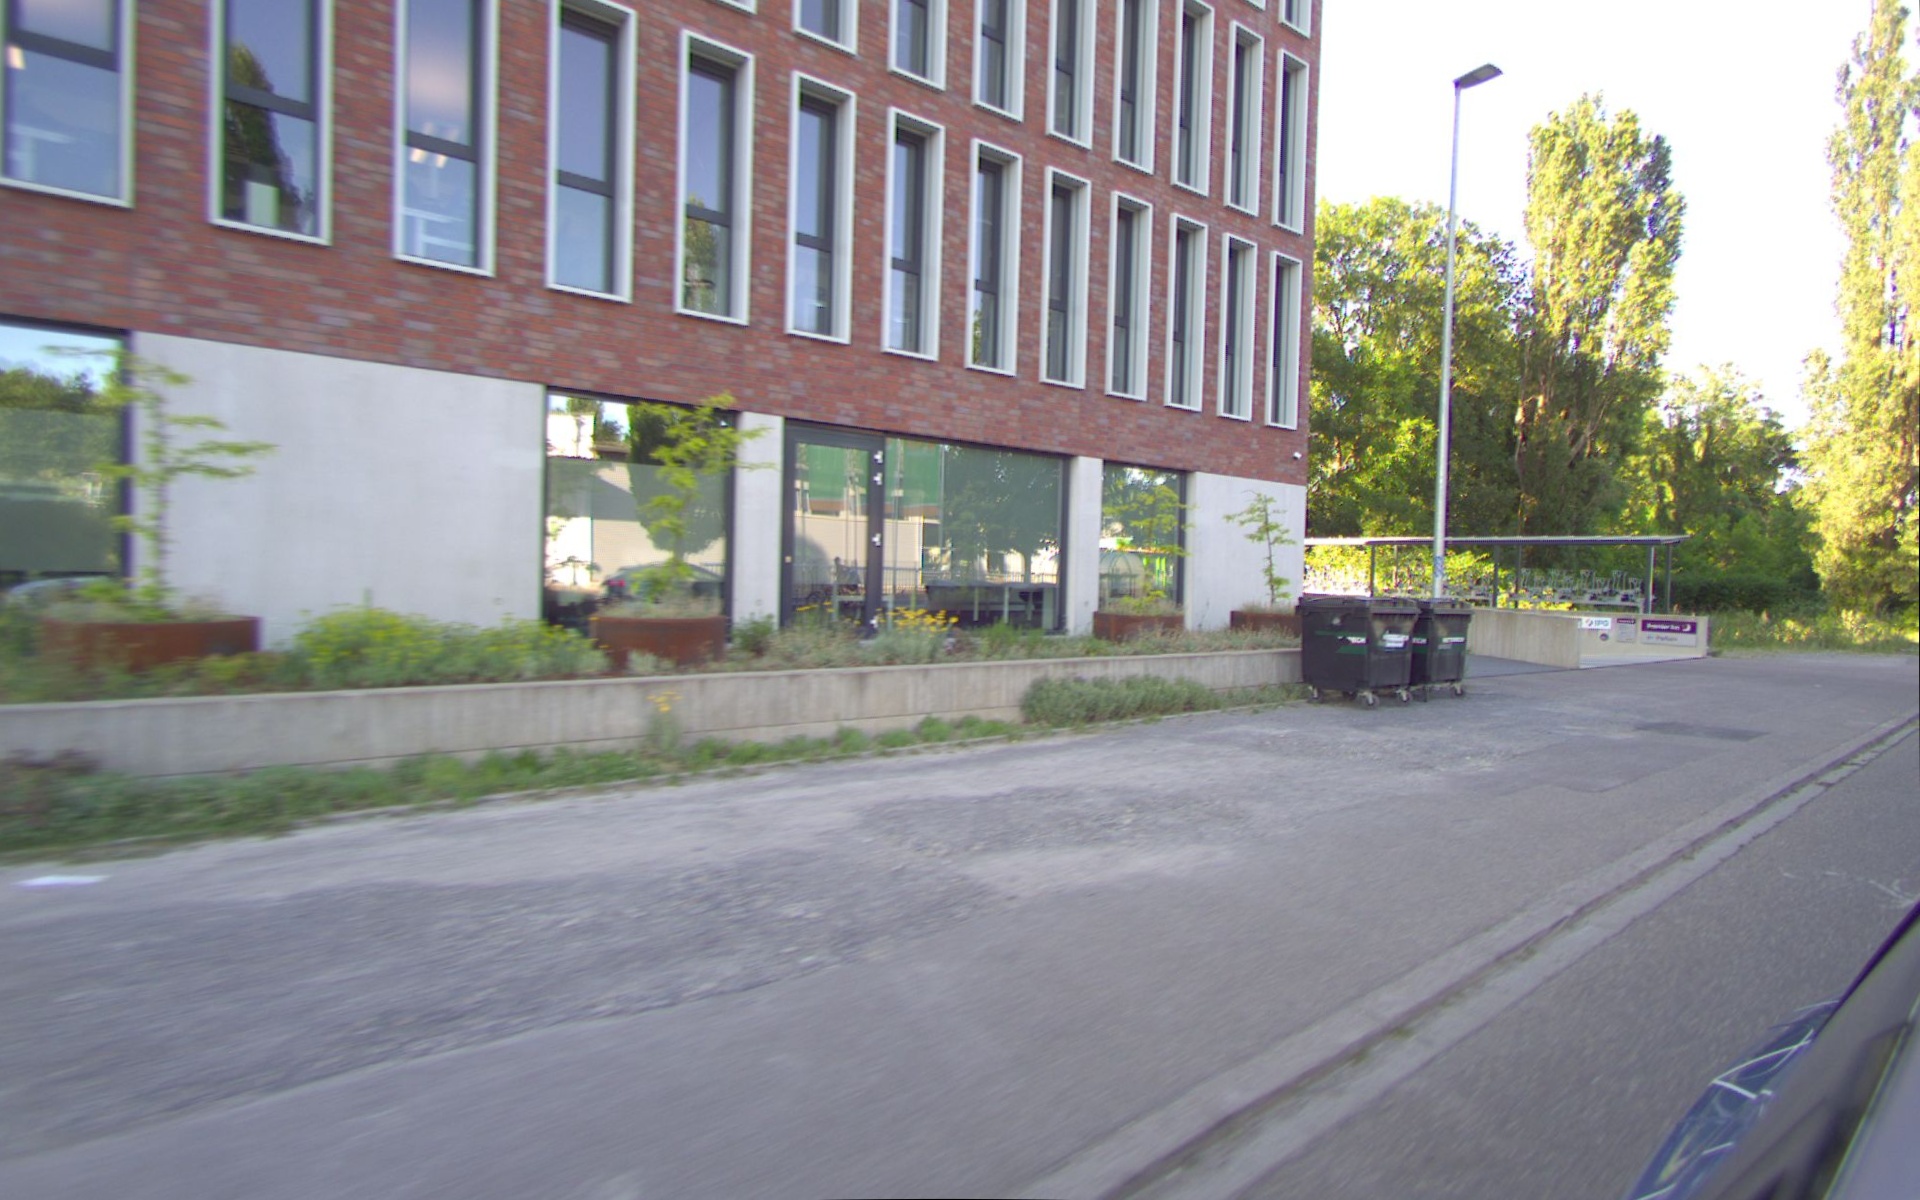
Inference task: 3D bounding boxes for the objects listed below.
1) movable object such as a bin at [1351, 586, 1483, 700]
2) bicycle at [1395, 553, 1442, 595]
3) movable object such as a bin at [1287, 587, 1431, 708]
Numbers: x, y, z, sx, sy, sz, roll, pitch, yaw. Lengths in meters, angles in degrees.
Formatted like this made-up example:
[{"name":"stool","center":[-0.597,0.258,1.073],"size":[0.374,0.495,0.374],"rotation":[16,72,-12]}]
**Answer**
[{"name":"movable object such as a bin","center":[6.055,0.532,13.404],"size":[1.322,1.389,1.130],"rotation":[0,1,-41]},{"name":"bicycle","center":[15.016,-0.849,33.095],"size":[1.955,1.337,0.632],"rotation":[-1,1,-40]},{"name":"movable object such as a bin","center":[4.879,0.537,12.376],"size":[1.322,1.352,1.130],"rotation":[0,1,-41]}]
